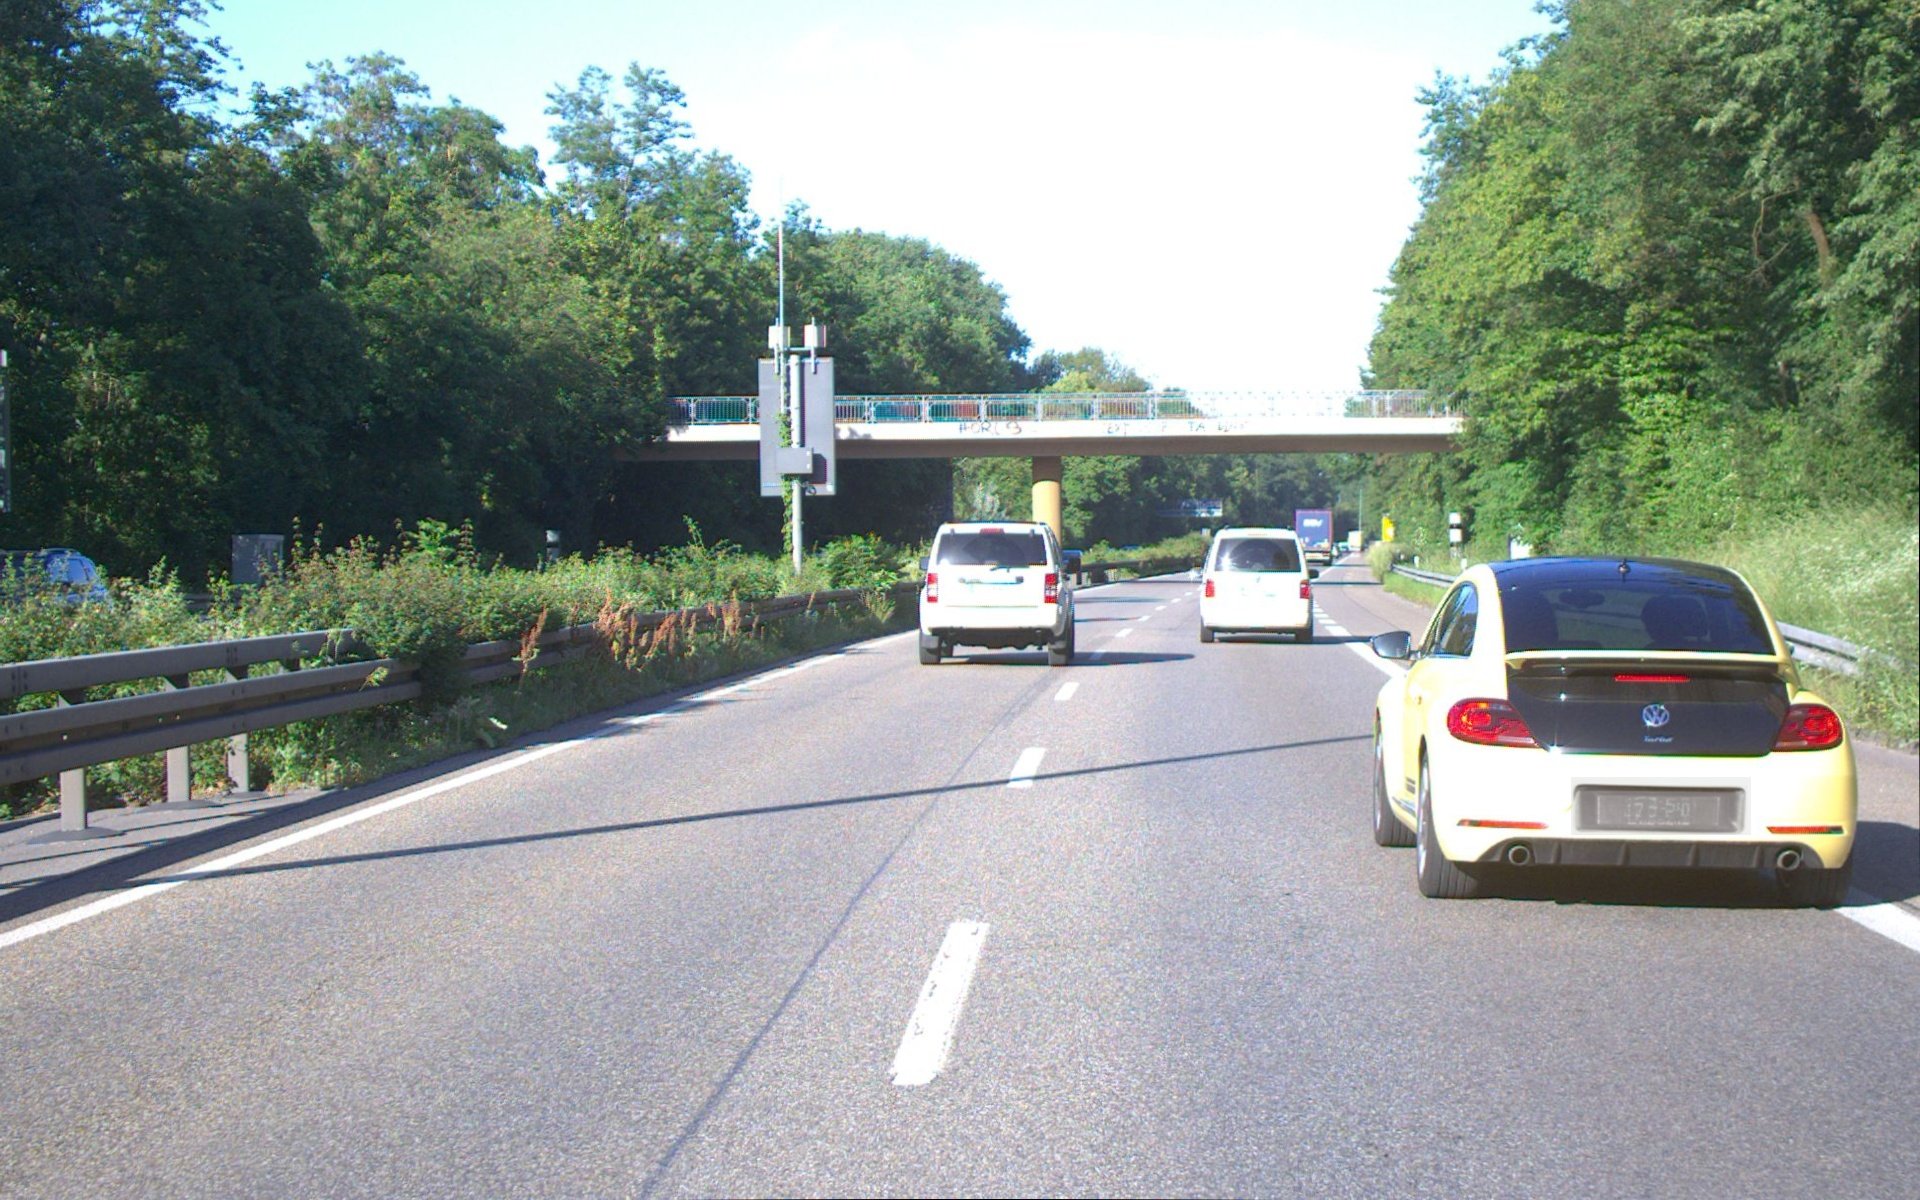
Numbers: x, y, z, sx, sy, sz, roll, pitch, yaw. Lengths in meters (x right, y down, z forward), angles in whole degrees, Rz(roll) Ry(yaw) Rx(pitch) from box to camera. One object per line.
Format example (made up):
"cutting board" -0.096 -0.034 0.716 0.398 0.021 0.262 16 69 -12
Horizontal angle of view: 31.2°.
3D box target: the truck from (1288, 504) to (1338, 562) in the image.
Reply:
"truck" 25.768 -4.873 250.535 3.497 4.158 8.860 -1 1 7

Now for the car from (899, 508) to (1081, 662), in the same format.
"car" 0.431 -0.220 43.504 2.085 1.822 4.000 1 1 3

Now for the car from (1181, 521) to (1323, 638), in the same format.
"car" 4.610 -0.349 54.770 1.863 1.764 4.470 -1 1 0

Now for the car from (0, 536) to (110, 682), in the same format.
"car" -12.295 0.065 43.176 1.961 1.718 4.744 0 1 1

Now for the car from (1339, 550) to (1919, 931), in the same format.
"car" 2.893 0.524 15.805 1.879 1.456 4.356 1 1 1
